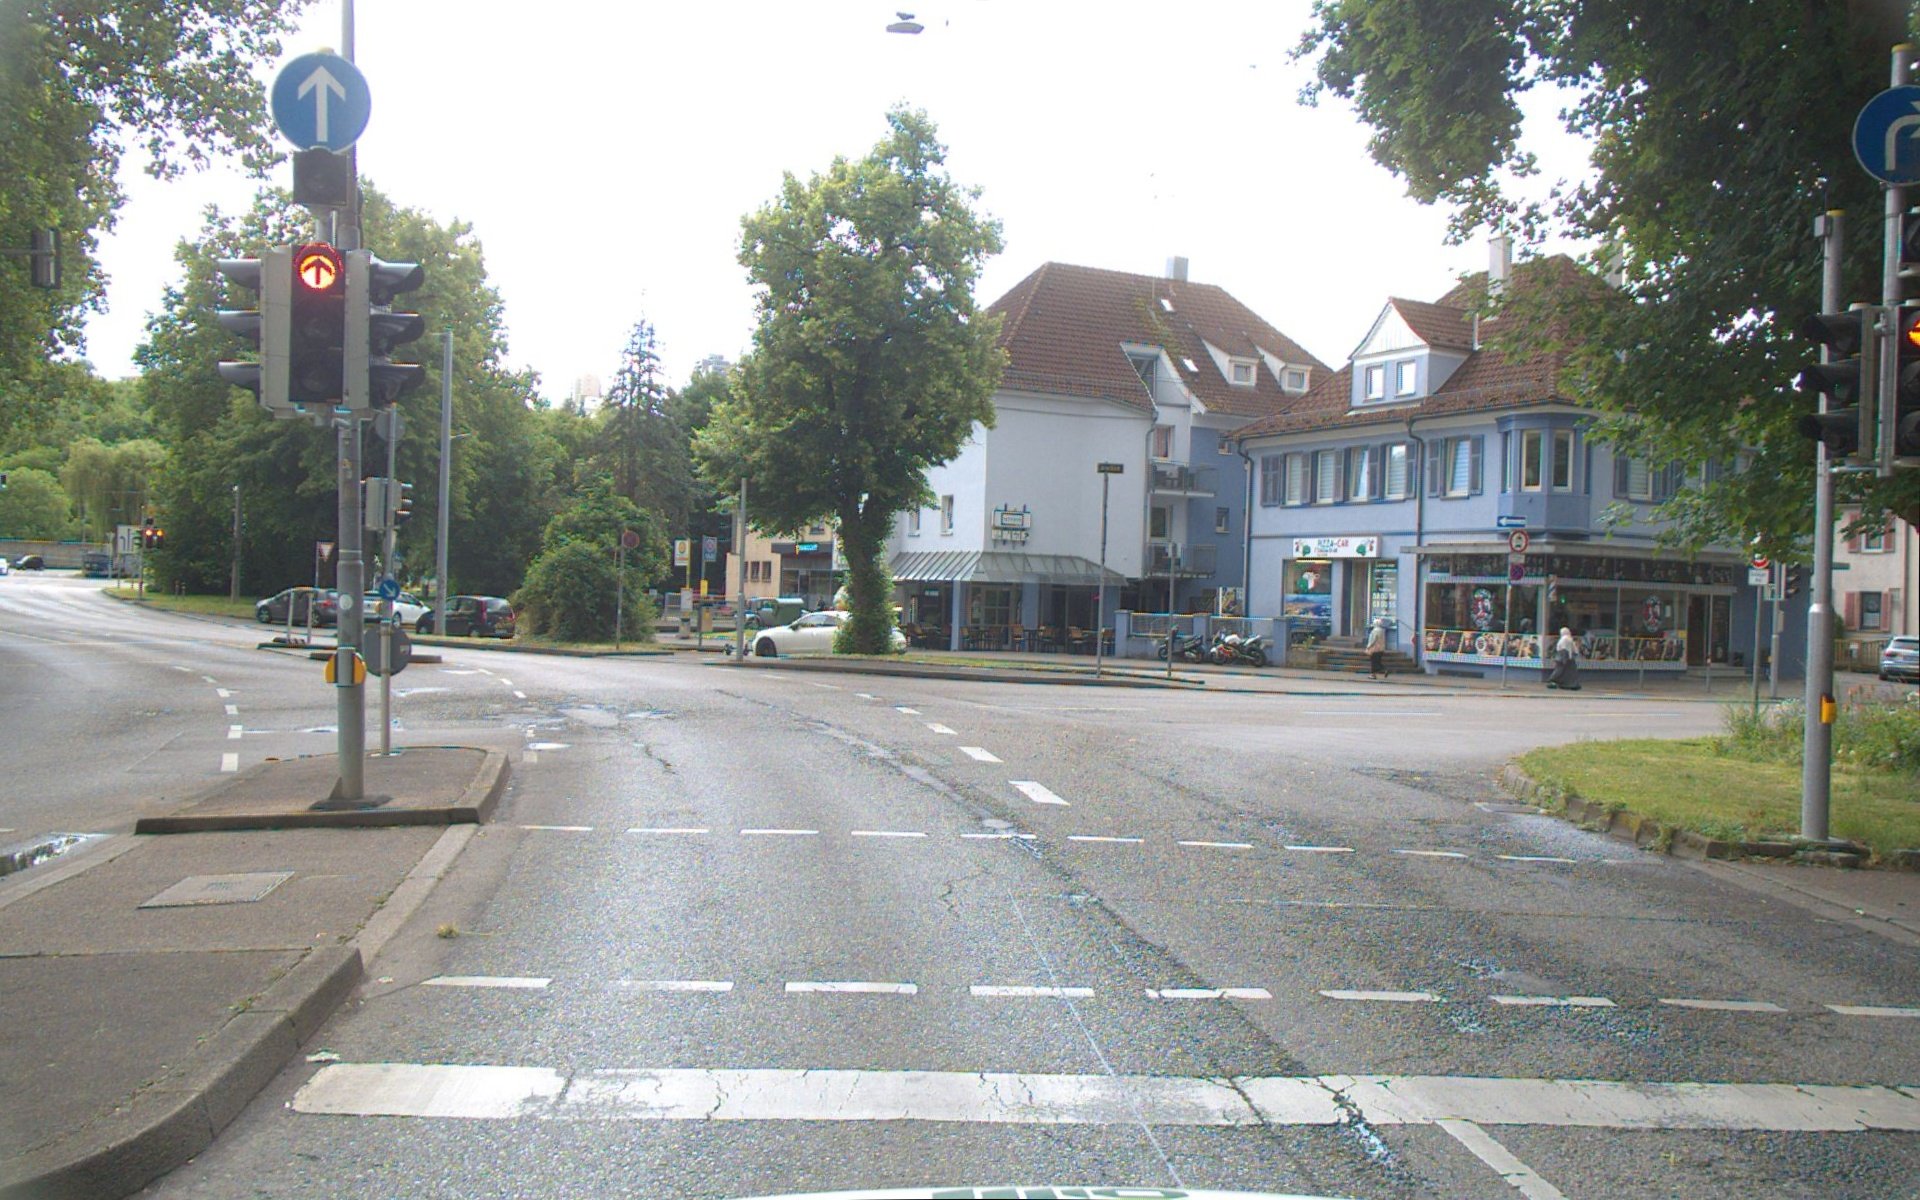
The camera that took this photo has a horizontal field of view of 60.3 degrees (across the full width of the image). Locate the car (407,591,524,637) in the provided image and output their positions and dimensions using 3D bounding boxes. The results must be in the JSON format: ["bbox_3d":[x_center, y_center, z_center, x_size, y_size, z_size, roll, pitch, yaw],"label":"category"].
[{"bbox_3d":[-15.917,0.452,53.264,3.252,1.376,1.778,1,0,27],"label":"car"}]

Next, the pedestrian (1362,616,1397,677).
[{"bbox_3d":[11.188,1.240,44.118,0.717,1.587,0.767,0,-1,30],"label":"pedestrian"}]

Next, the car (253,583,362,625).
[{"bbox_3d":[-25.010,0.158,63.422,3.695,1.491,1.622,1,0,18],"label":"car"}]

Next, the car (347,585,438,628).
[{"bbox_3d":[-22.735,0.265,66.405,1.821,1.668,3.757,1,0,10],"label":"car"}]

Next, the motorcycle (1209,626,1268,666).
[{"bbox_3d":[8.164,1.345,48.460,1.595,1.107,0.625,1,0,32],"label":"motorcycle"}]

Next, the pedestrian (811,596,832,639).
[{"bbox_3d":[-6.750,0.834,80.640,0.823,2.049,1.052,1,0,-15],"label":"pedestrian"}]

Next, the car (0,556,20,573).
[{"bbox_3d":[-88.777,-3.274,153.774,2.970,1.442,1.492,0,-2,40],"label":"car"}]

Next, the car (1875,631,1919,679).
[{"bbox_3d":[29.695,1.696,51.690,1.849,1.415,3.608,1,0,28],"label":"car"}]

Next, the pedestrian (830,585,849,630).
[{"bbox_3d":[-4.317,0.276,59.132,0.531,1.587,0.468,0,-1,13],"label":"pedestrian"}]

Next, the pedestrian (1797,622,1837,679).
[{"bbox_3d":[23.989,1.413,46.282,0.659,1.587,0.743,1,-1,-15],"label":"pedestrian"}]

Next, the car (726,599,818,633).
[{"bbox_3d":[-8.584,0.741,75.480,3.880,1.467,1.742,1,0,-21],"label":"car"}]

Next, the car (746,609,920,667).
[{"bbox_3d":[-3.535,1.026,45.684,4.618,1.435,1.896,1,0,35],"label":"car"}]

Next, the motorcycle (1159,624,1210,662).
[{"bbox_3d":[6.811,1.294,50.210,1.430,1.107,0.522,1,0,35],"label":"motorcycle"}]

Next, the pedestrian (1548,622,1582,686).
[{"bbox_3d":[15.153,1.345,41.425,0.681,1.587,0.665,0,-1,30],"label":"pedestrian"}]

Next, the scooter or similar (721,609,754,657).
[{"bbox_3d":[-5.704,0.833,42.509,0.433,1.195,1.439,1,0,8],"label":"scooter or similar"}]
